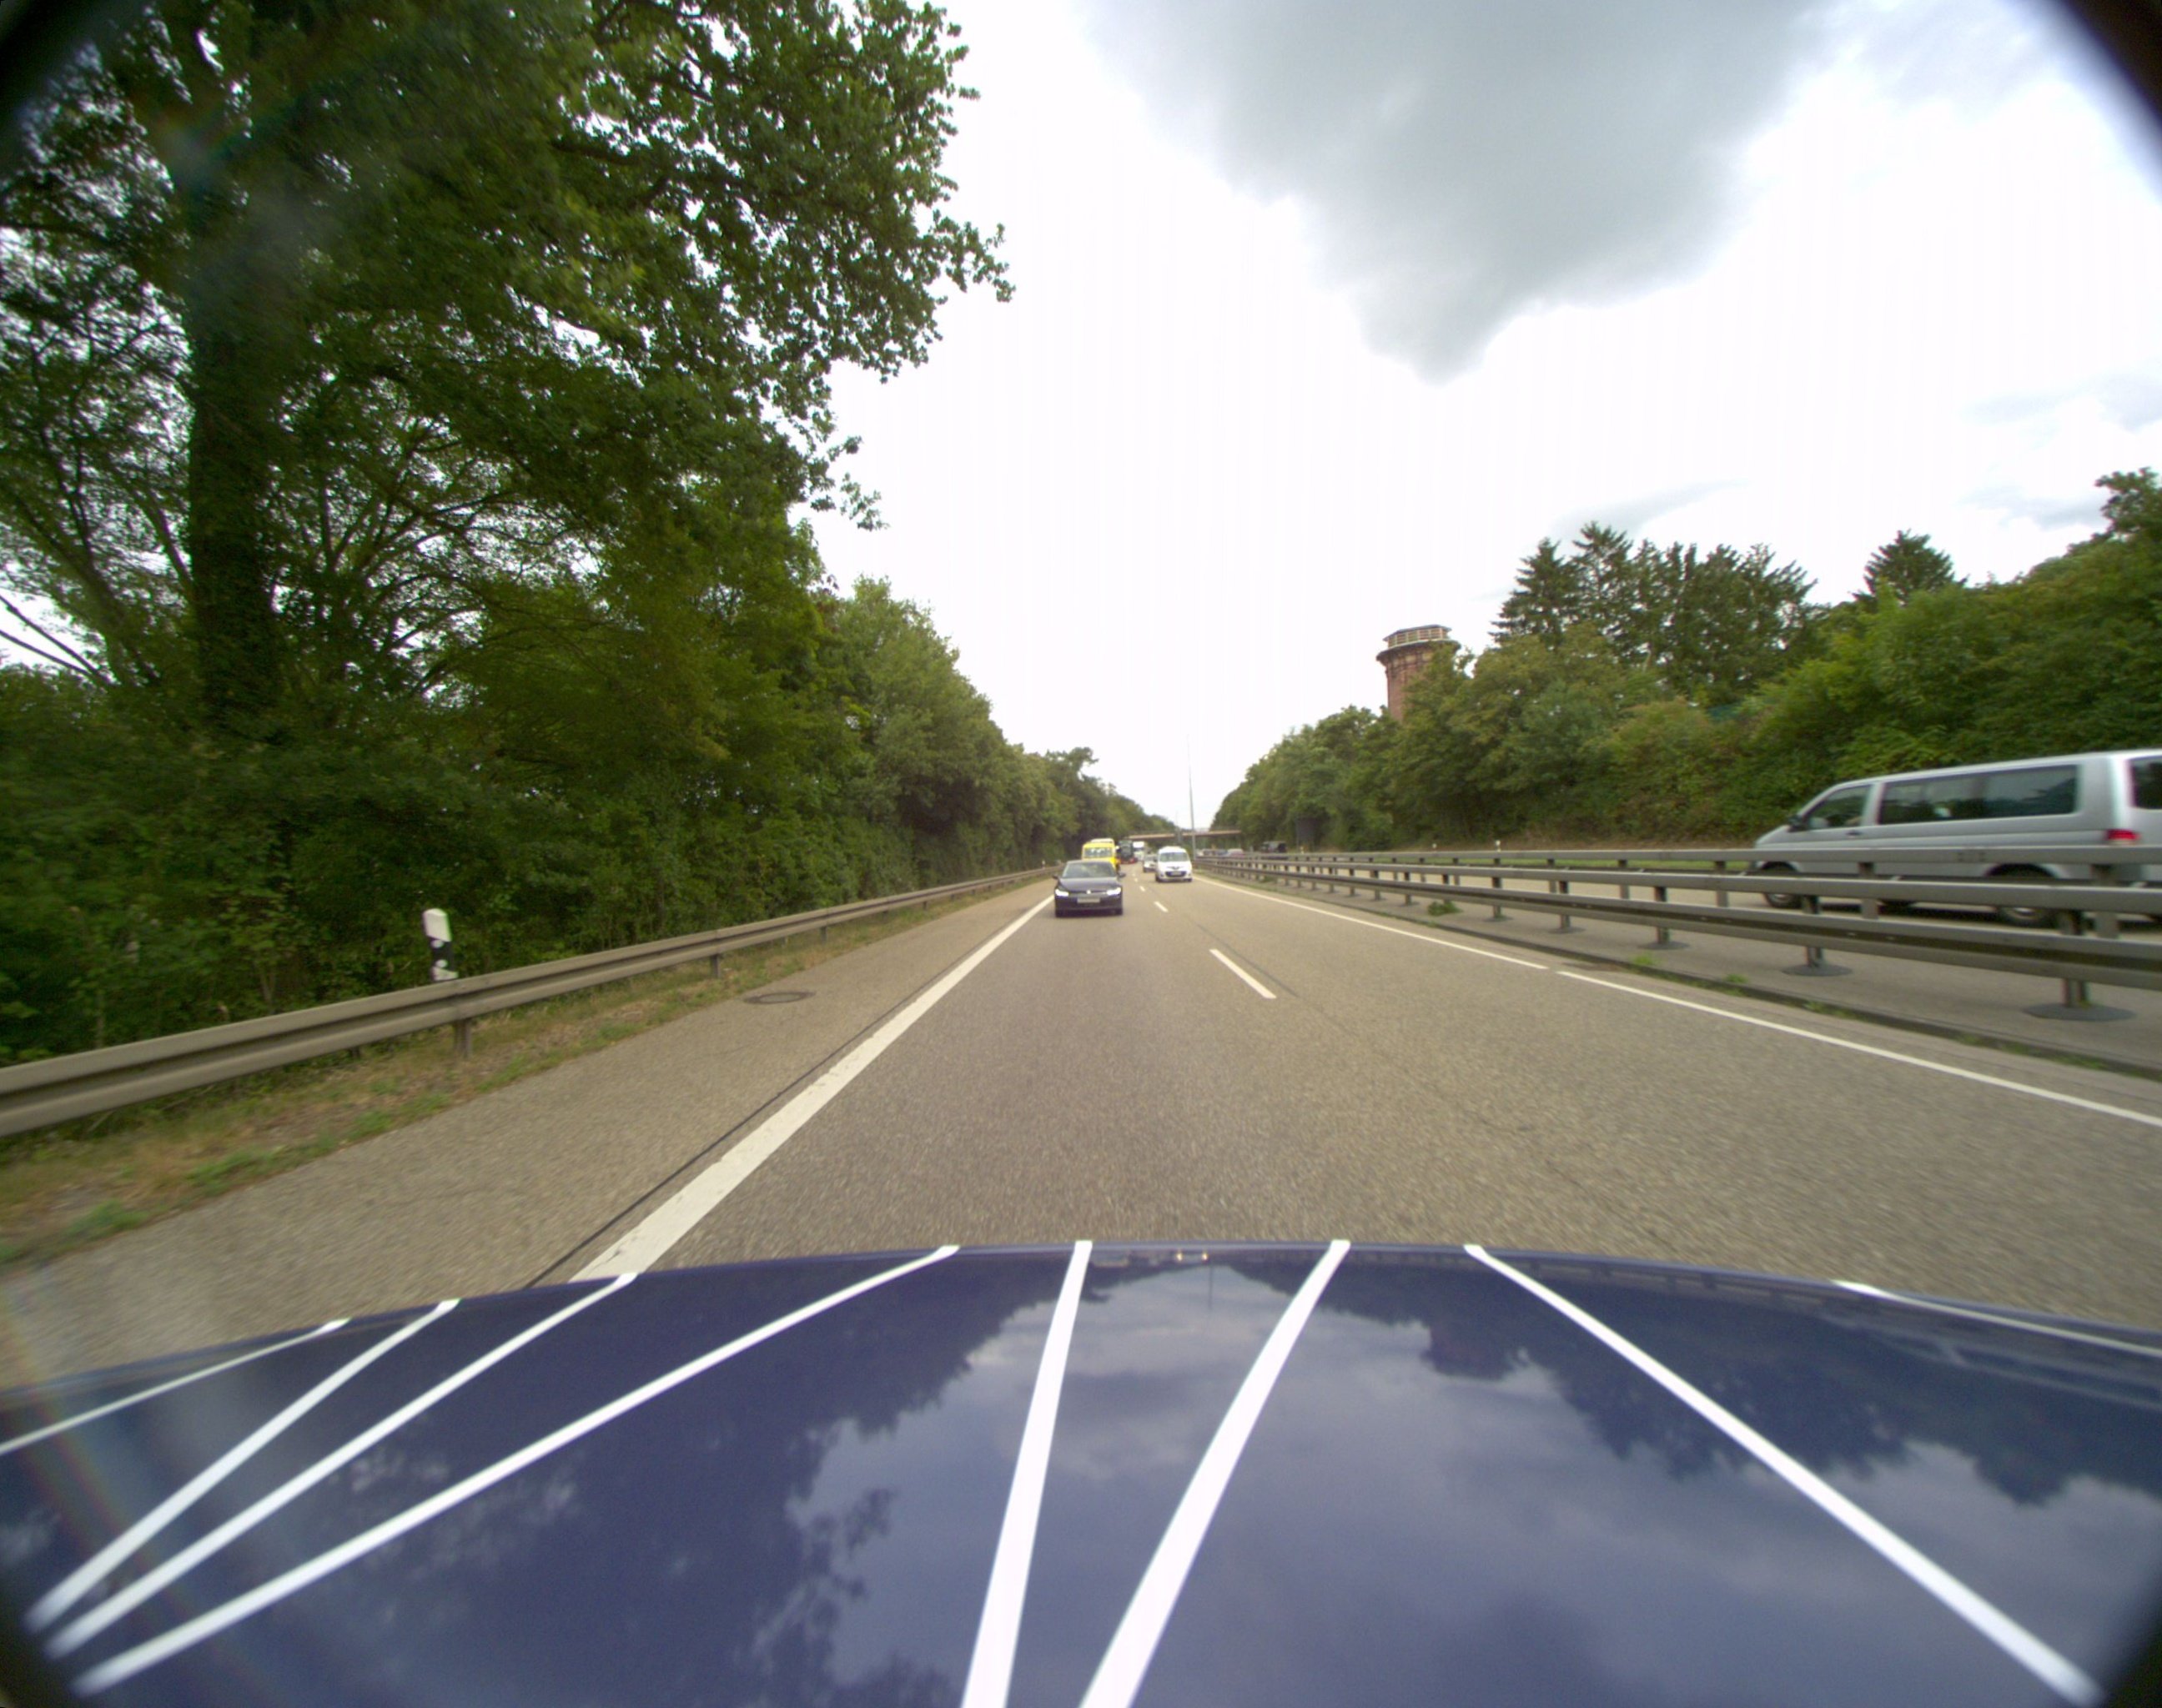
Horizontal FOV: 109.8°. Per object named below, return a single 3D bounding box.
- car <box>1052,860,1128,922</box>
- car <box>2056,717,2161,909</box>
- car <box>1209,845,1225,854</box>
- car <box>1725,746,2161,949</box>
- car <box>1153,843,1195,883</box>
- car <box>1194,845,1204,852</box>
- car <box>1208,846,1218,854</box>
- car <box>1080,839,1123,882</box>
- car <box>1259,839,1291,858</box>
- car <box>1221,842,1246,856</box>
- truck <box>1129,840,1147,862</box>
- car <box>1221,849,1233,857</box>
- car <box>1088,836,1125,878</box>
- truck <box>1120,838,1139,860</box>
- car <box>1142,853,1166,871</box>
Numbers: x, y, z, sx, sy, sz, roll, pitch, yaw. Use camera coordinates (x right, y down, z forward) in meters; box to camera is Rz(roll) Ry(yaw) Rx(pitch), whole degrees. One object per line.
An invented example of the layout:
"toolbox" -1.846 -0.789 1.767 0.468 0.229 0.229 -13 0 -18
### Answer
"car" 0.217 0.916 20.806 1.801 1.398 4.639 -2 1 0
"car" 15.804 -0.572 8.649 2.317 2.596 5.553 -2 1 1
"car" 21.720 -0.749 121.186 1.982 1.292 4.068 -2 1 2
"car" 11.414 -0.111 9.879 1.826 1.972 5.057 -2 1 1
"car" 4.947 0.442 40.929 1.821 1.993 4.423 -2 1 2
"car" 23.665 -1.122 152.398 1.715 1.418 4.058 -2 1 4
"car" 28.078 -0.931 161.536 1.734 1.592 4.133 -2 1 6
"car" 1.138 0.341 44.915 2.248 2.334 5.223 -2 1 -1
"car" 19.259 -0.532 75.532 2.040 1.793 5.123 -2 1 3
"car" 14.765 -0.492 73.581 1.659 1.271 4.713 -2 1 3
"truck" 12.393 -0.725 165.576 3.098 4.462 12.215 -2 1 8
"car" 26.858 -0.232 140.077 1.815 1.441 4.058 -2 1 5
"car" 1.733 0.183 53.269 2.208 2.732 6.166 -2 1 -1
"truck" 8.168 -0.877 127.220 2.547 3.564 6.460 -2 1 8
"car" 6.094 0.625 63.980 1.772 1.416 4.198 -2 1 2
